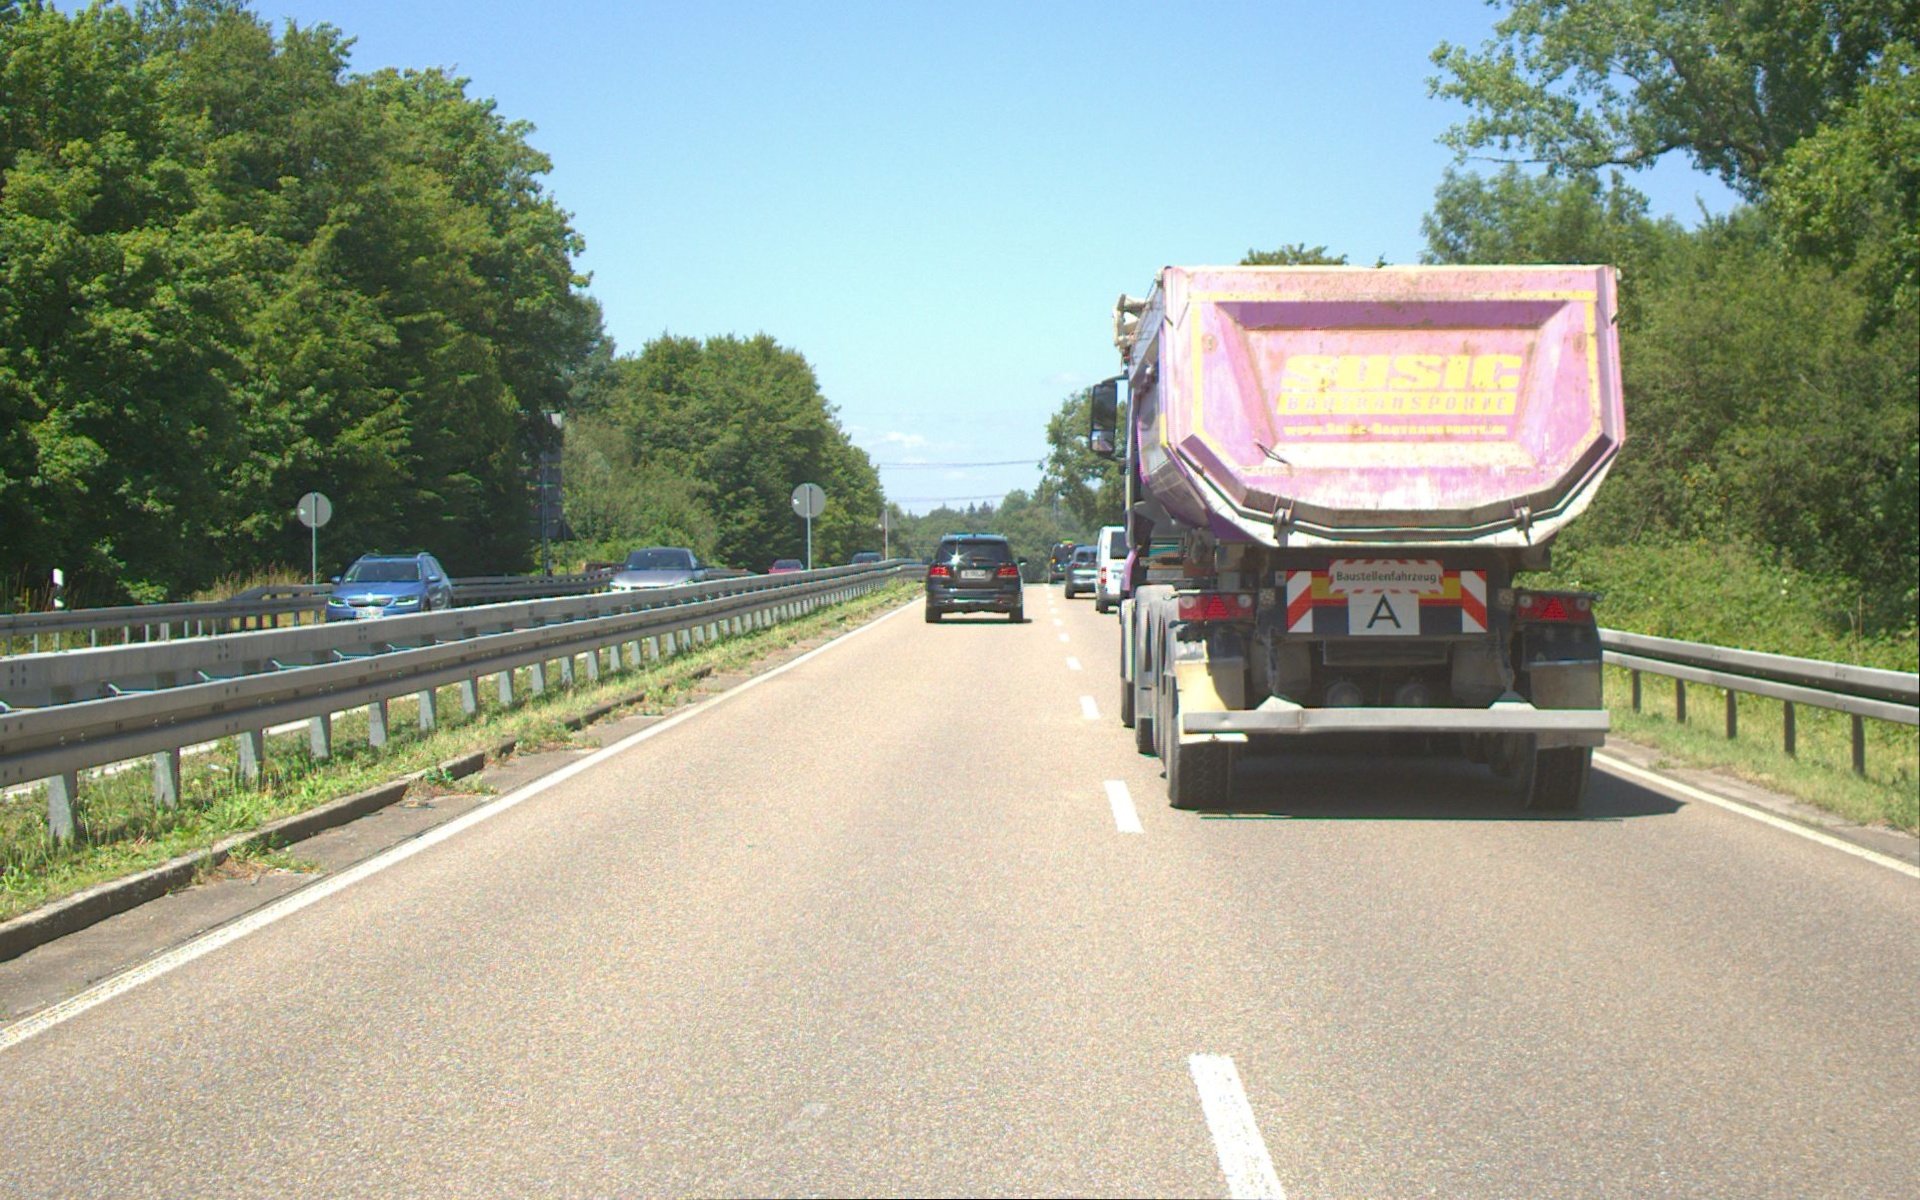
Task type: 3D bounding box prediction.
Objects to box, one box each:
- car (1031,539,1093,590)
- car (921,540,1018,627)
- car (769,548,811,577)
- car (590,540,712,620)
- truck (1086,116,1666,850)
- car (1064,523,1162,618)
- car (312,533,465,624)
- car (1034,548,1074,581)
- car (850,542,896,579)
[{"bbox_3d":[2.955,-1.043,99.995,1.603,1.415,3.523,-2,1,-1],"label":"car"},{"bbox_3d":[0.192,-0.309,68.711,1.857,1.666,4.000,1,-1,0],"label":"car"},{"bbox_3d":[-8.420,-1.874,170.587,1.797,1.386,4.000,-2,1,1],"label":"car"},{"bbox_3d":[-6.790,-0.470,75.940,1.994,1.626,4.552,-2,1,3],"label":"car"},{"bbox_3d":[2.453,-0.738,24.609,2.720,3.916,12.370,0,1,0],"label":"truck"},{"bbox_3d":[3.478,-0.701,78.724,1.993,2.070,4.000,-2,1,0],"label":"car"},{"bbox_3d":[-10.362,-0.426,62.628,1.812,1.537,4.928,-2,1,1],"label":"car"},{"bbox_3d":[4.181,-1.591,153.810,1.603,1.415,3.523,-2,1,-1],"label":"car"},{"bbox_3d":[-4.377,-2.016,173.278,1.993,1.787,4.748,-2,1,2],"label":"car"}]
